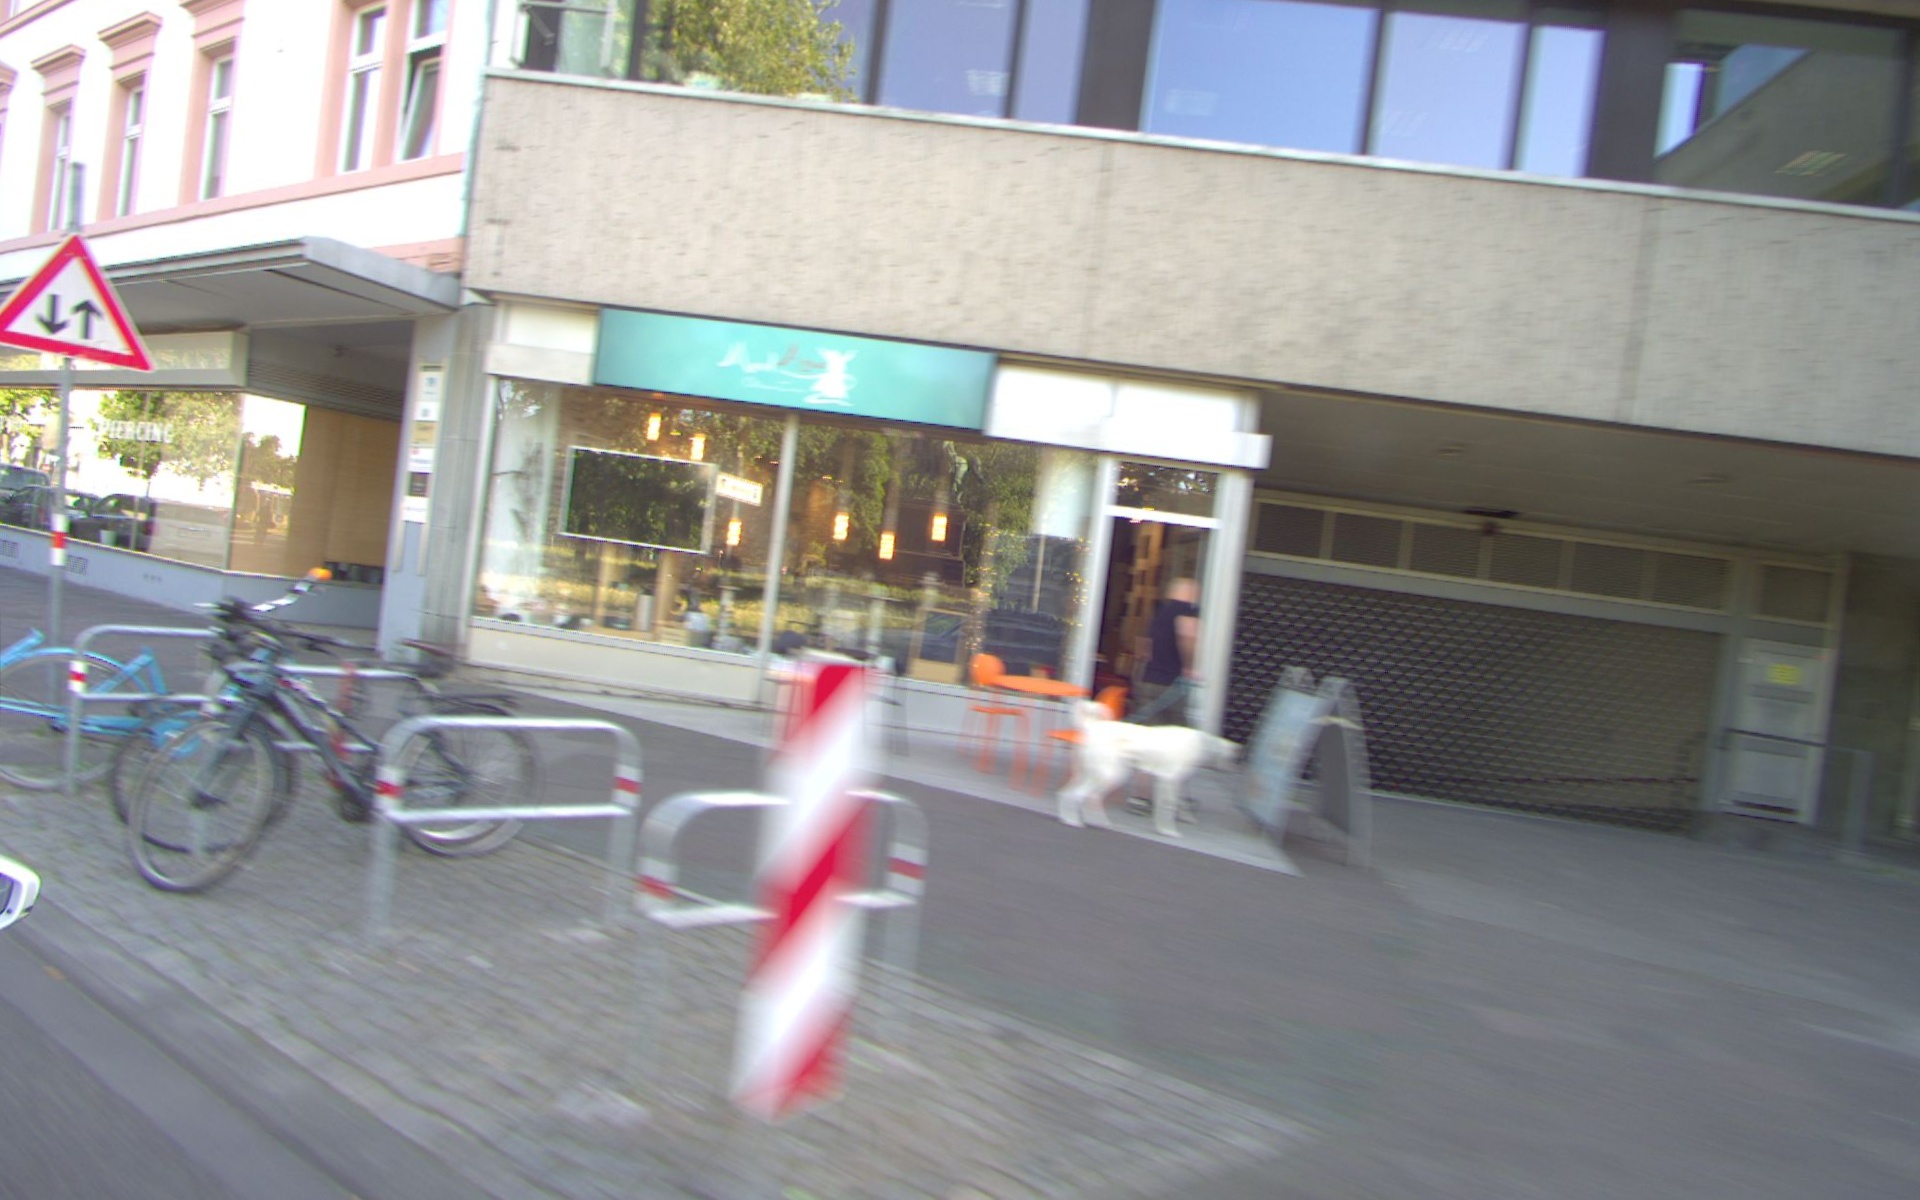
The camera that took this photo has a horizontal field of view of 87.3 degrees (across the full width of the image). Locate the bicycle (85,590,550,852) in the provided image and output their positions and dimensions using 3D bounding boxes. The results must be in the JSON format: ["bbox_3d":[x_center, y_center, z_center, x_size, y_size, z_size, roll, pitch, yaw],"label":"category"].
[{"bbox_3d":[-2.909,0.577,4.717,1.699,1.015,0.422,9,-2,-44],"label":"bicycle"}]

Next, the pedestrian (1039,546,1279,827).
[{"bbox_3d":[1.413,0.585,7.143,1.121,1.763,1.017,6,-2,44],"label":"pedestrian"}]

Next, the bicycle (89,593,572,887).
[{"bbox_3d":[-2.661,0.619,4.433,1.675,1.074,0.339,9,-2,-44],"label":"bicycle"}]

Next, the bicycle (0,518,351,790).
[{"bbox_3d":[-4.267,0.304,5.297,1.615,1.257,0.652,9,-2,-40],"label":"bicycle"}]
